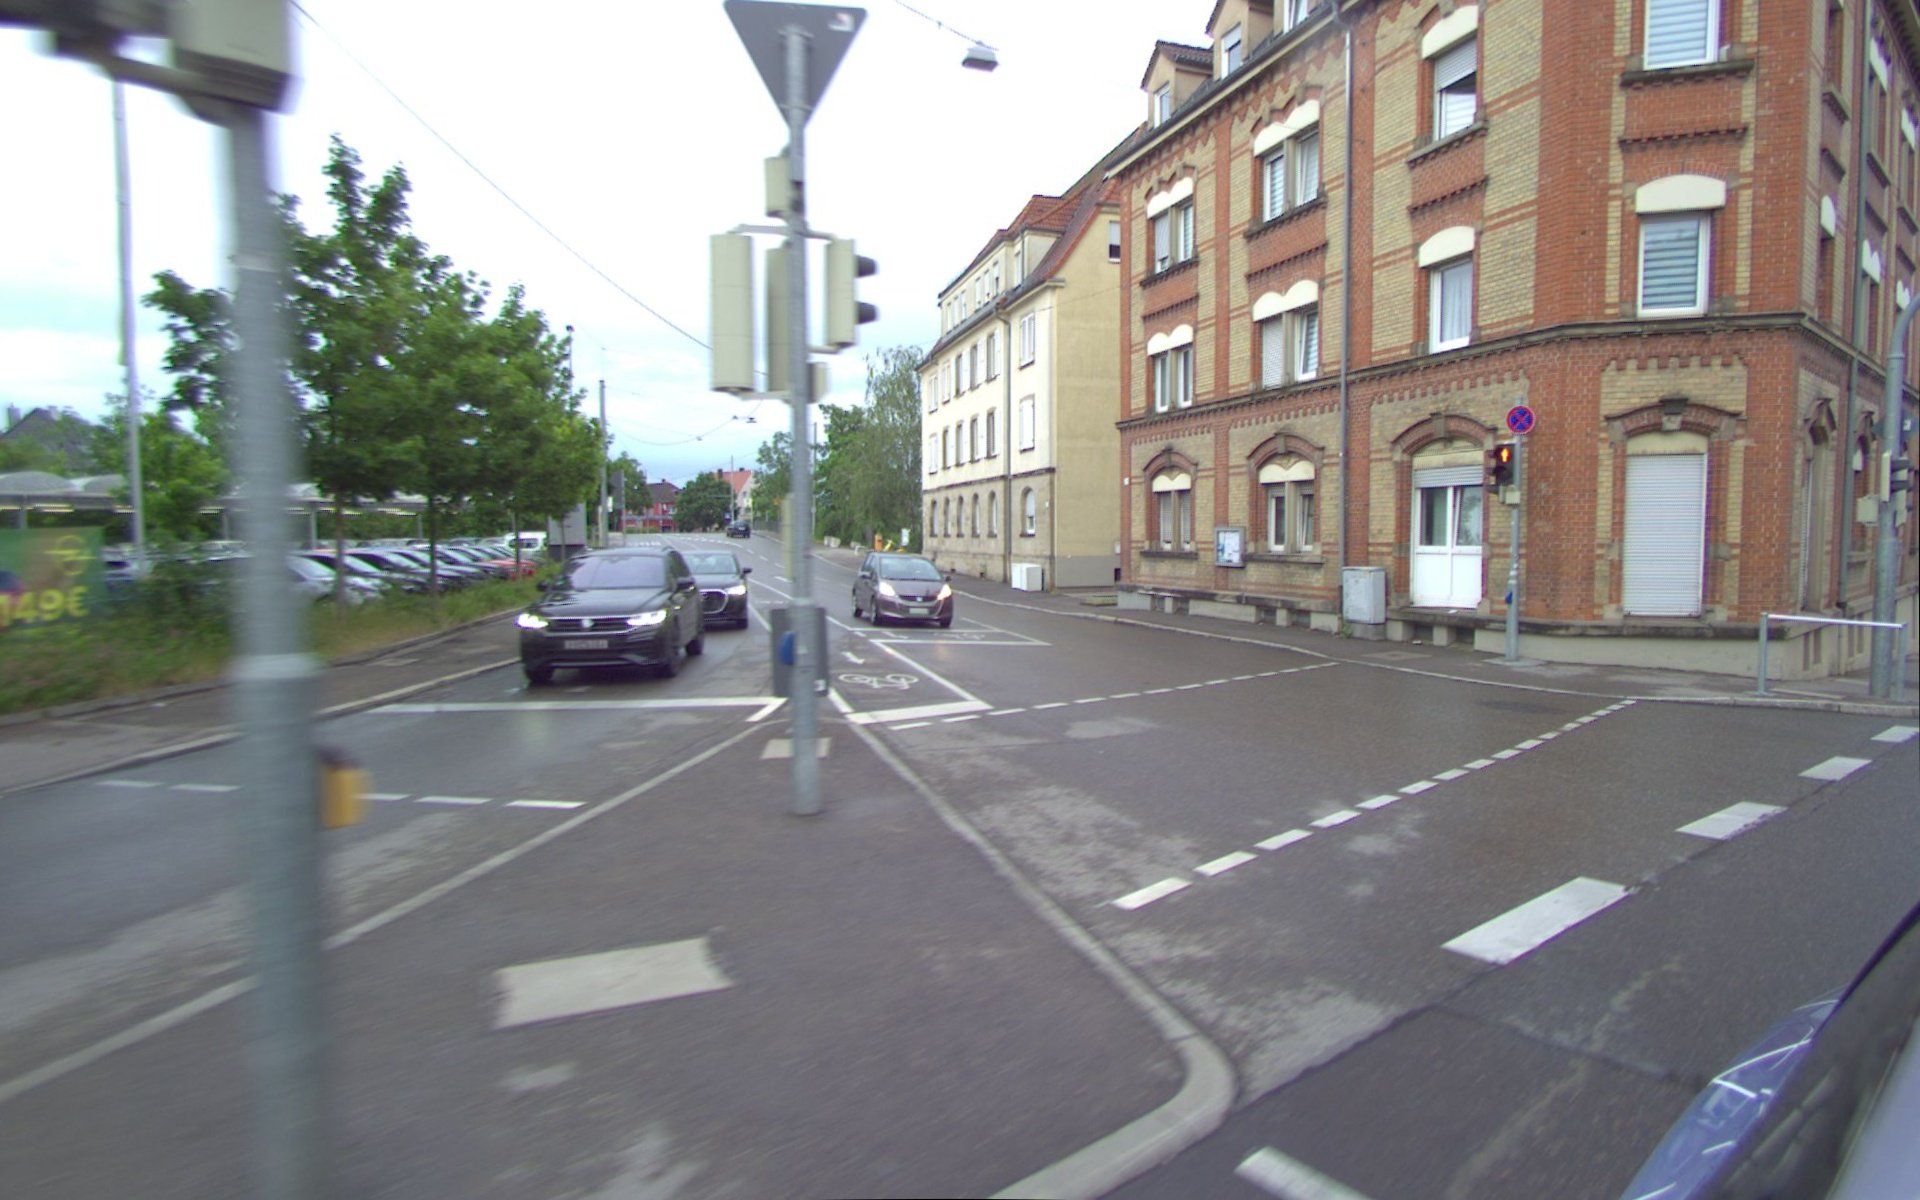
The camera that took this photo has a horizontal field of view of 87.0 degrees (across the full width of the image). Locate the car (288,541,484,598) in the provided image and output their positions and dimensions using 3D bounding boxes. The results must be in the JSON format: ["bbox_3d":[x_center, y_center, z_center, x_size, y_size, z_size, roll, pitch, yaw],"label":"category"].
[{"bbox_3d":[-14.227,-0.768,25.282,3.916,1.323,1.728,1,3,-12],"label":"car"}]

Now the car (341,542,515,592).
[{"bbox_3d":[-14.519,-0.921,27.815,3.916,1.265,1.728,1,3,-12],"label":"car"}]

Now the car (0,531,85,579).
[{"bbox_3d":[-28.409,-1.345,29.521,3.916,1.323,1.918,1,3,-12],"label":"car"}]

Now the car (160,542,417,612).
[{"bbox_3d":[-13.254,-0.467,20.217,3.916,1.288,1.728,1,3,-12],"label":"car"}]

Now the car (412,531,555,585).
[{"bbox_3d":[-15.458,-1.371,32.986,3.916,1.615,1.728,1,3,-12],"label":"car"}]

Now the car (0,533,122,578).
[{"bbox_3d":[-29.445,-1.434,32.148,3.916,1.323,1.918,1,3,-12],"label":"car"}]

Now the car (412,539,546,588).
[{"bbox_3d":[-16.735,-1.289,35.382,3.916,1.615,1.728,1,3,-12],"label":"car"}]

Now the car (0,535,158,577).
[{"bbox_3d":[-30.084,-1.506,34.442,3.916,1.323,1.918,1,3,-12],"label":"car"}]

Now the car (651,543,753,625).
[{"bbox_3d":[-5.265,-0.412,21.106,1.767,1.523,4.265,0,3,-10],"label":"car"}]

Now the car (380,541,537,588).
[{"bbox_3d":[-14.982,-1.073,30.409,3.916,1.323,1.728,1,3,-12],"label":"car"}]

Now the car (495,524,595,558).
[{"bbox_3d":[-20.318,-2.890,49.665,4.286,1.508,1.728,1,3,-12],"label":"car"}]

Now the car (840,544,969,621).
[{"bbox_3d":[-1.318,-0.450,22.206,1.805,1.471,4.011,1,3,-18],"label":"car"}]

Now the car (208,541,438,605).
[{"bbox_3d":[-13.875,-0.598,22.269,3.916,1.300,1.728,1,3,-12],"label":"car"}]

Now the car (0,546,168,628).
[{"bbox_3d":[-17.678,-0.294,19.868,3.960,1.471,1.810,1,2,26],"label":"car"}]

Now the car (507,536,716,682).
[{"bbox_3d":[-4.532,-0.016,13.828,1.768,1.683,4.262,0,3,-6],"label":"car"}]

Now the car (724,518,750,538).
[{"bbox_3d":[-19.532,-6.284,88.585,1.850,1.637,4.011,1,3,-17],"label":"car"}]

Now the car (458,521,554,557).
[{"bbox_3d":[-20.683,-2.773,46.224,3.734,1.508,1.728,1,3,-12],"label":"car"}]
